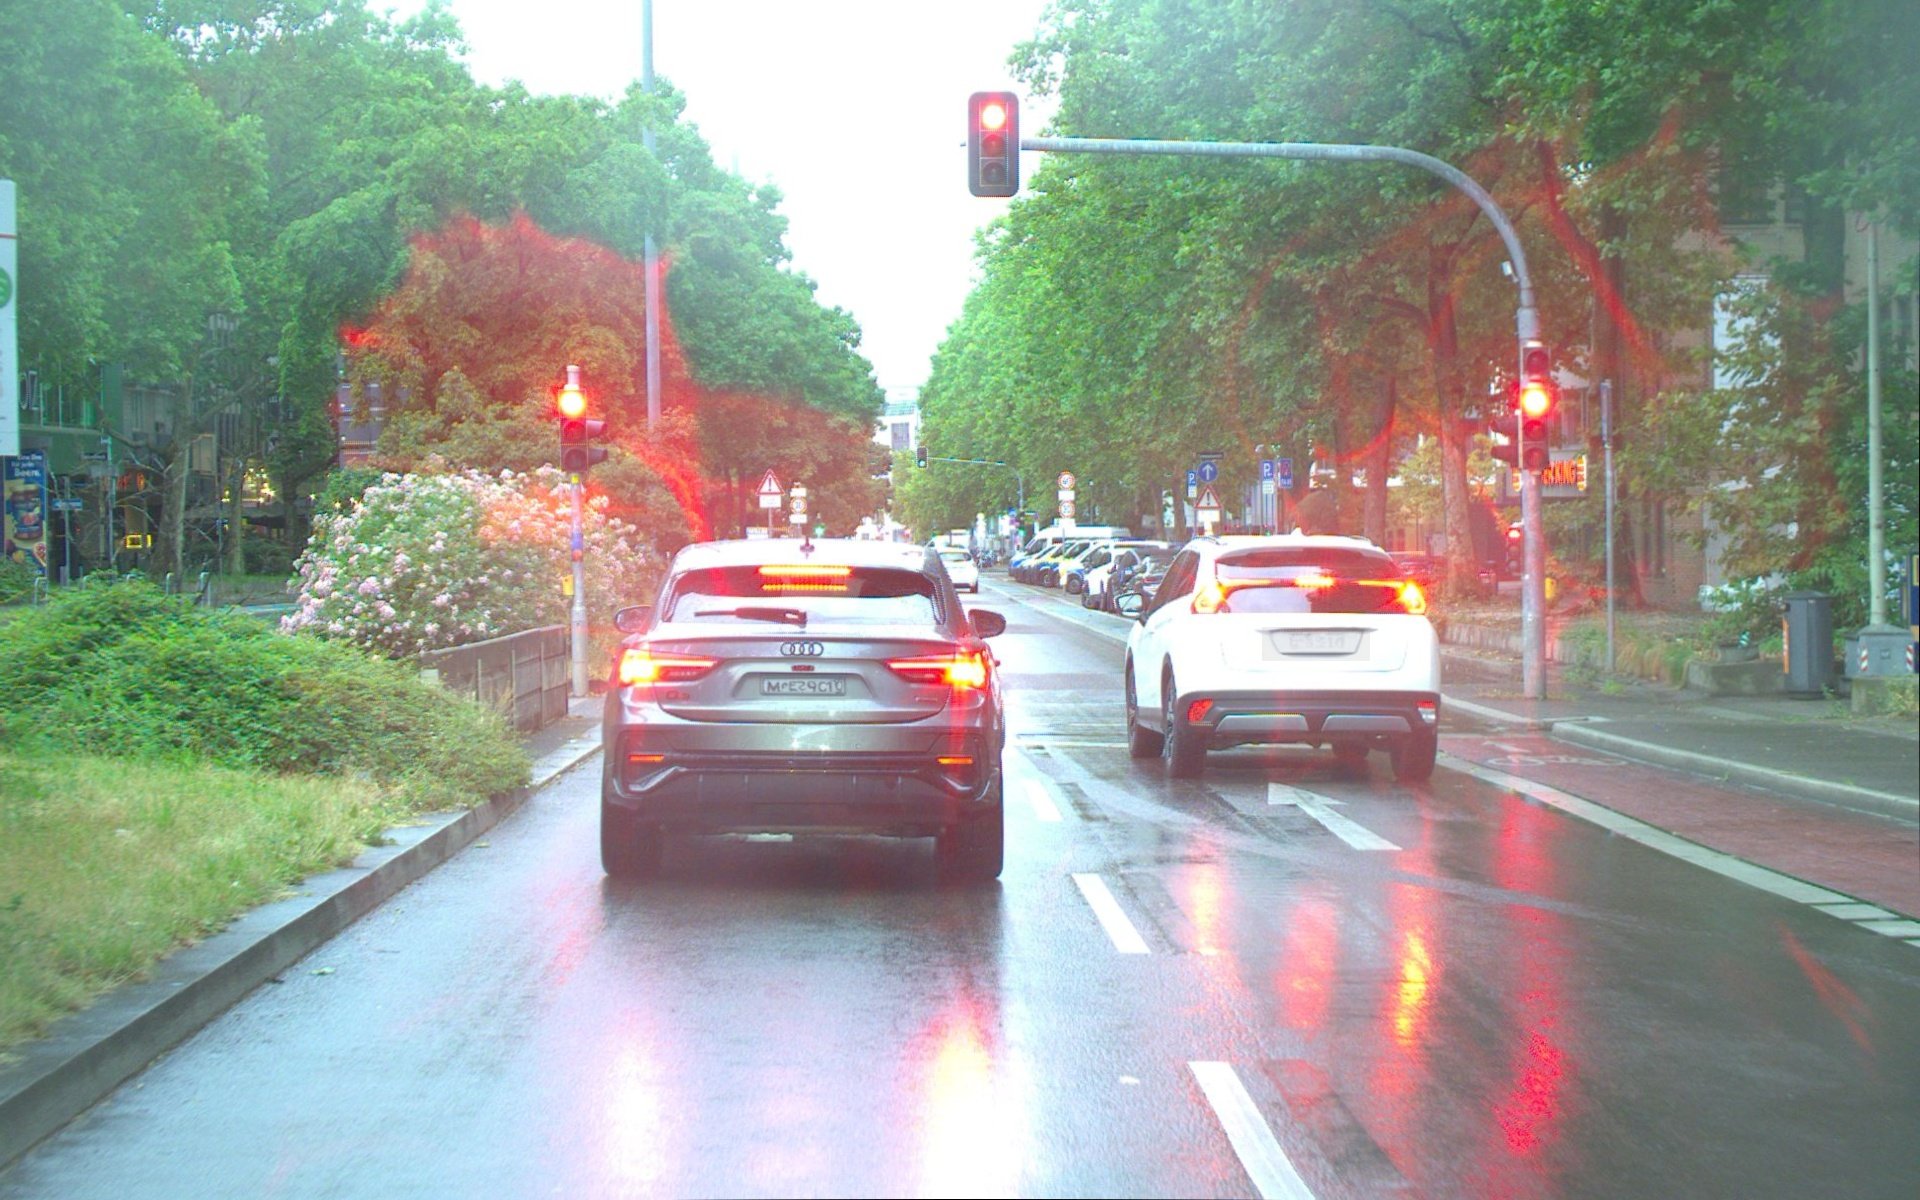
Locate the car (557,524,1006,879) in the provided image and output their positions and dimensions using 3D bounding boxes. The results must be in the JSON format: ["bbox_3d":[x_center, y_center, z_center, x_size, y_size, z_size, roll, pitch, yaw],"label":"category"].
[{"bbox_3d":[-0.815,0.390,16.727,1.918,1.486,4.001,0,2,-2],"label":"car"}]

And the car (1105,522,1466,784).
[{"bbox_3d":[2.207,0.287,24.662,1.993,1.649,4.889,0,2,-2],"label":"car"}]

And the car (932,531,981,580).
[{"bbox_3d":[-0.125,-1.586,121.814,1.620,1.660,4.001,-1,1,-1],"label":"car"}]
